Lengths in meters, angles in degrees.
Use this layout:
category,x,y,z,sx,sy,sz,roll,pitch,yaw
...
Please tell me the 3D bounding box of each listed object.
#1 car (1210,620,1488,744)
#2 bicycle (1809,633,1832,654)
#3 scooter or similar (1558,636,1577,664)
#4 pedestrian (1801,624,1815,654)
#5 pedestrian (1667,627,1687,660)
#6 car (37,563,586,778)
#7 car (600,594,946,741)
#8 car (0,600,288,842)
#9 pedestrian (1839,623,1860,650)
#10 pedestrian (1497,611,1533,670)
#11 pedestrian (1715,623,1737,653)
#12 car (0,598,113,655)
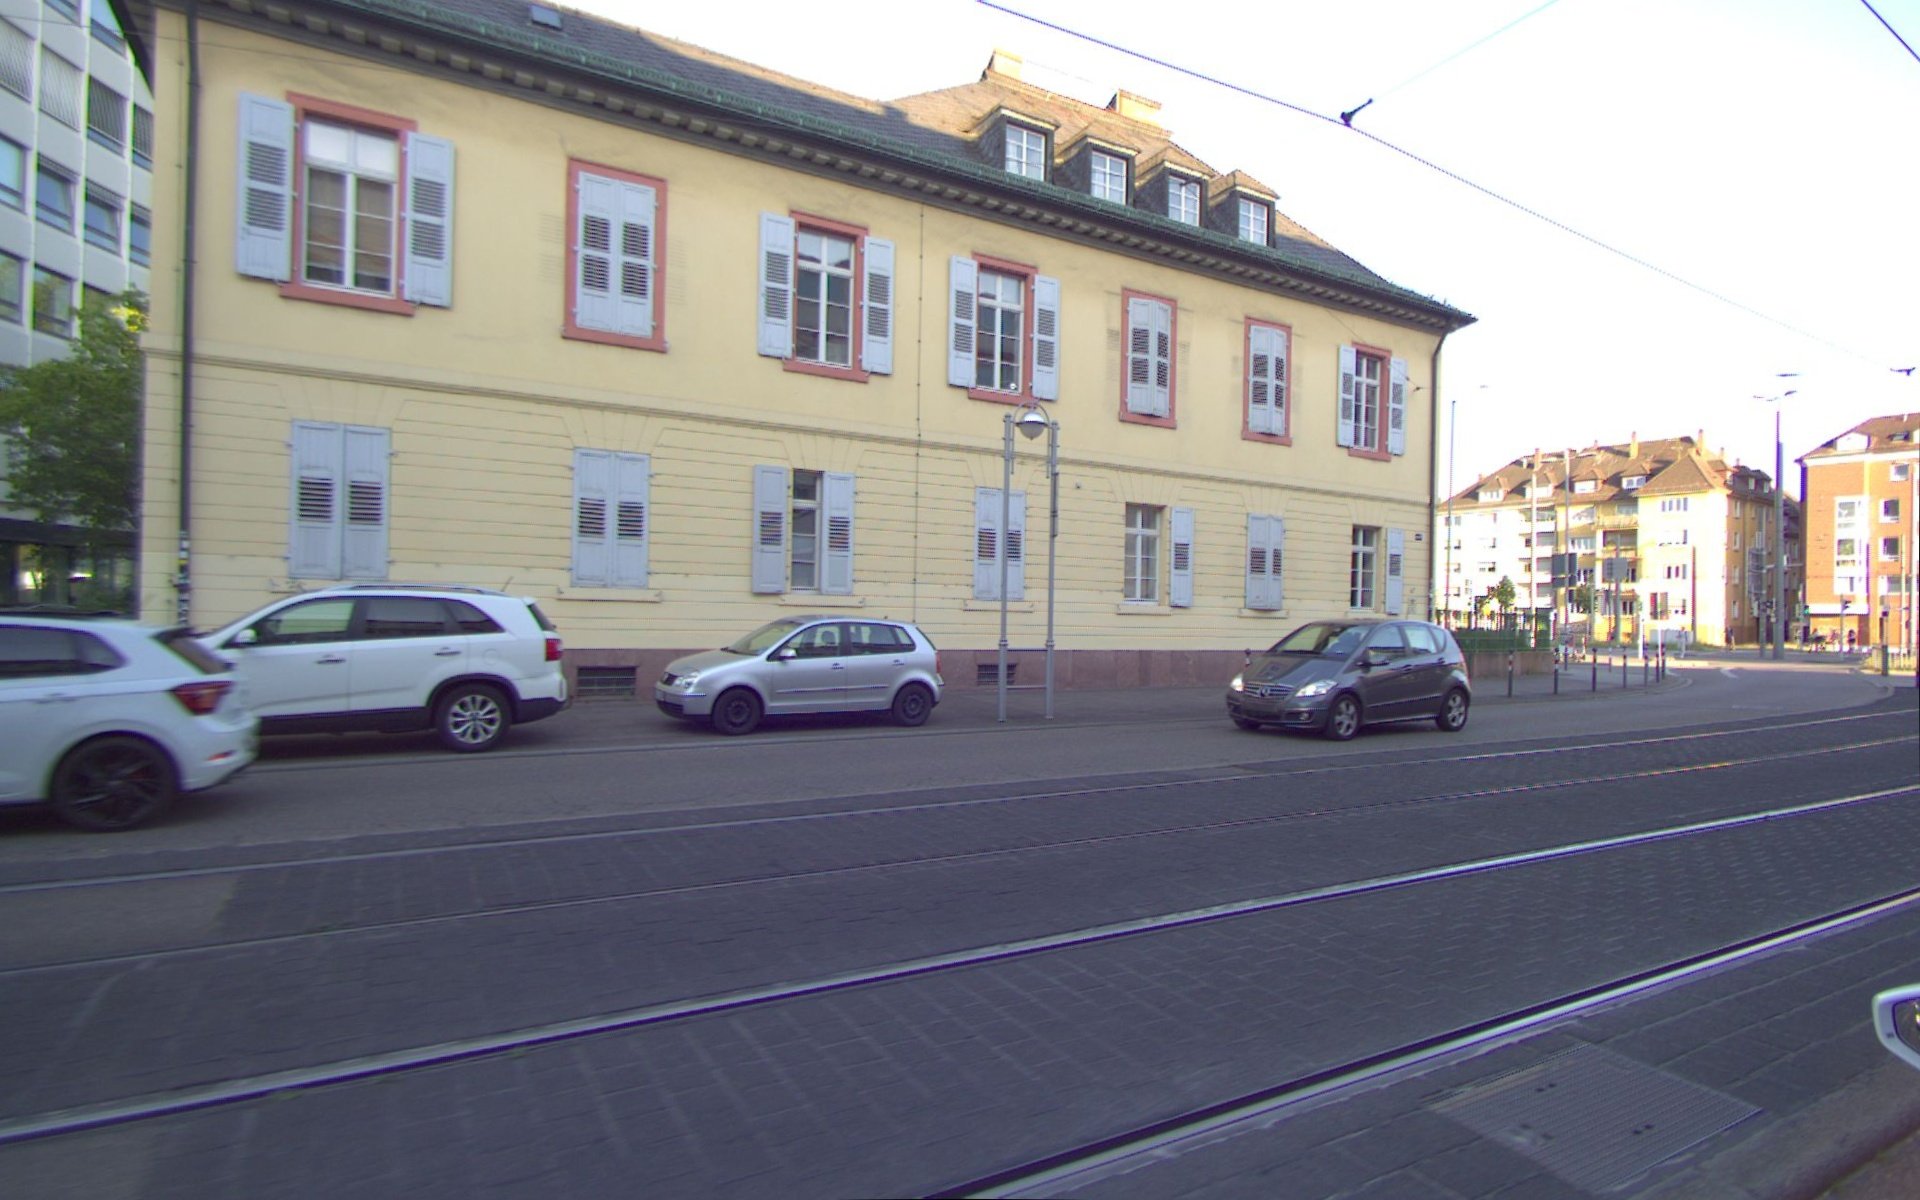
category,x,y,z,sx,sy,sz,roll,pitch,yaw
car,5.621,1.087,14.379,3.992,1.532,1.725,2,-1,-33
bicycle,56.090,2.845,65.464,1.995,1.343,0.614,2,1,-34
scooter or similar,28.193,2.305,46.613,0.507,1.289,1.256,1,-1,21
pedestrian,55.560,2.544,65.815,0.557,1.893,0.499,1,1,-35
pedestrian,41.401,2.493,57.975,0.872,1.892,0.972,0,-1,39
car,-6.458,0.630,10.522,4.451,1.809,1.801,2,2,-34
car,-2.440,0.805,13.371,4.166,1.639,1.803,1,1,-31
car,-7.065,0.762,6.838,3.988,1.532,1.797,2,-1,-31
pedestrian,63.489,2.595,71.658,0.831,1.893,0.932,1,1,-39
pedestrian,18.351,1.347,33.245,0.751,1.918,0.729,1,-1,-6
pedestrian,51.307,2.567,67.280,1.084,1.970,1.020,0,-1,41
car,-26.222,0.707,28.162,1.726,1.506,3.998,1,-1,-5
